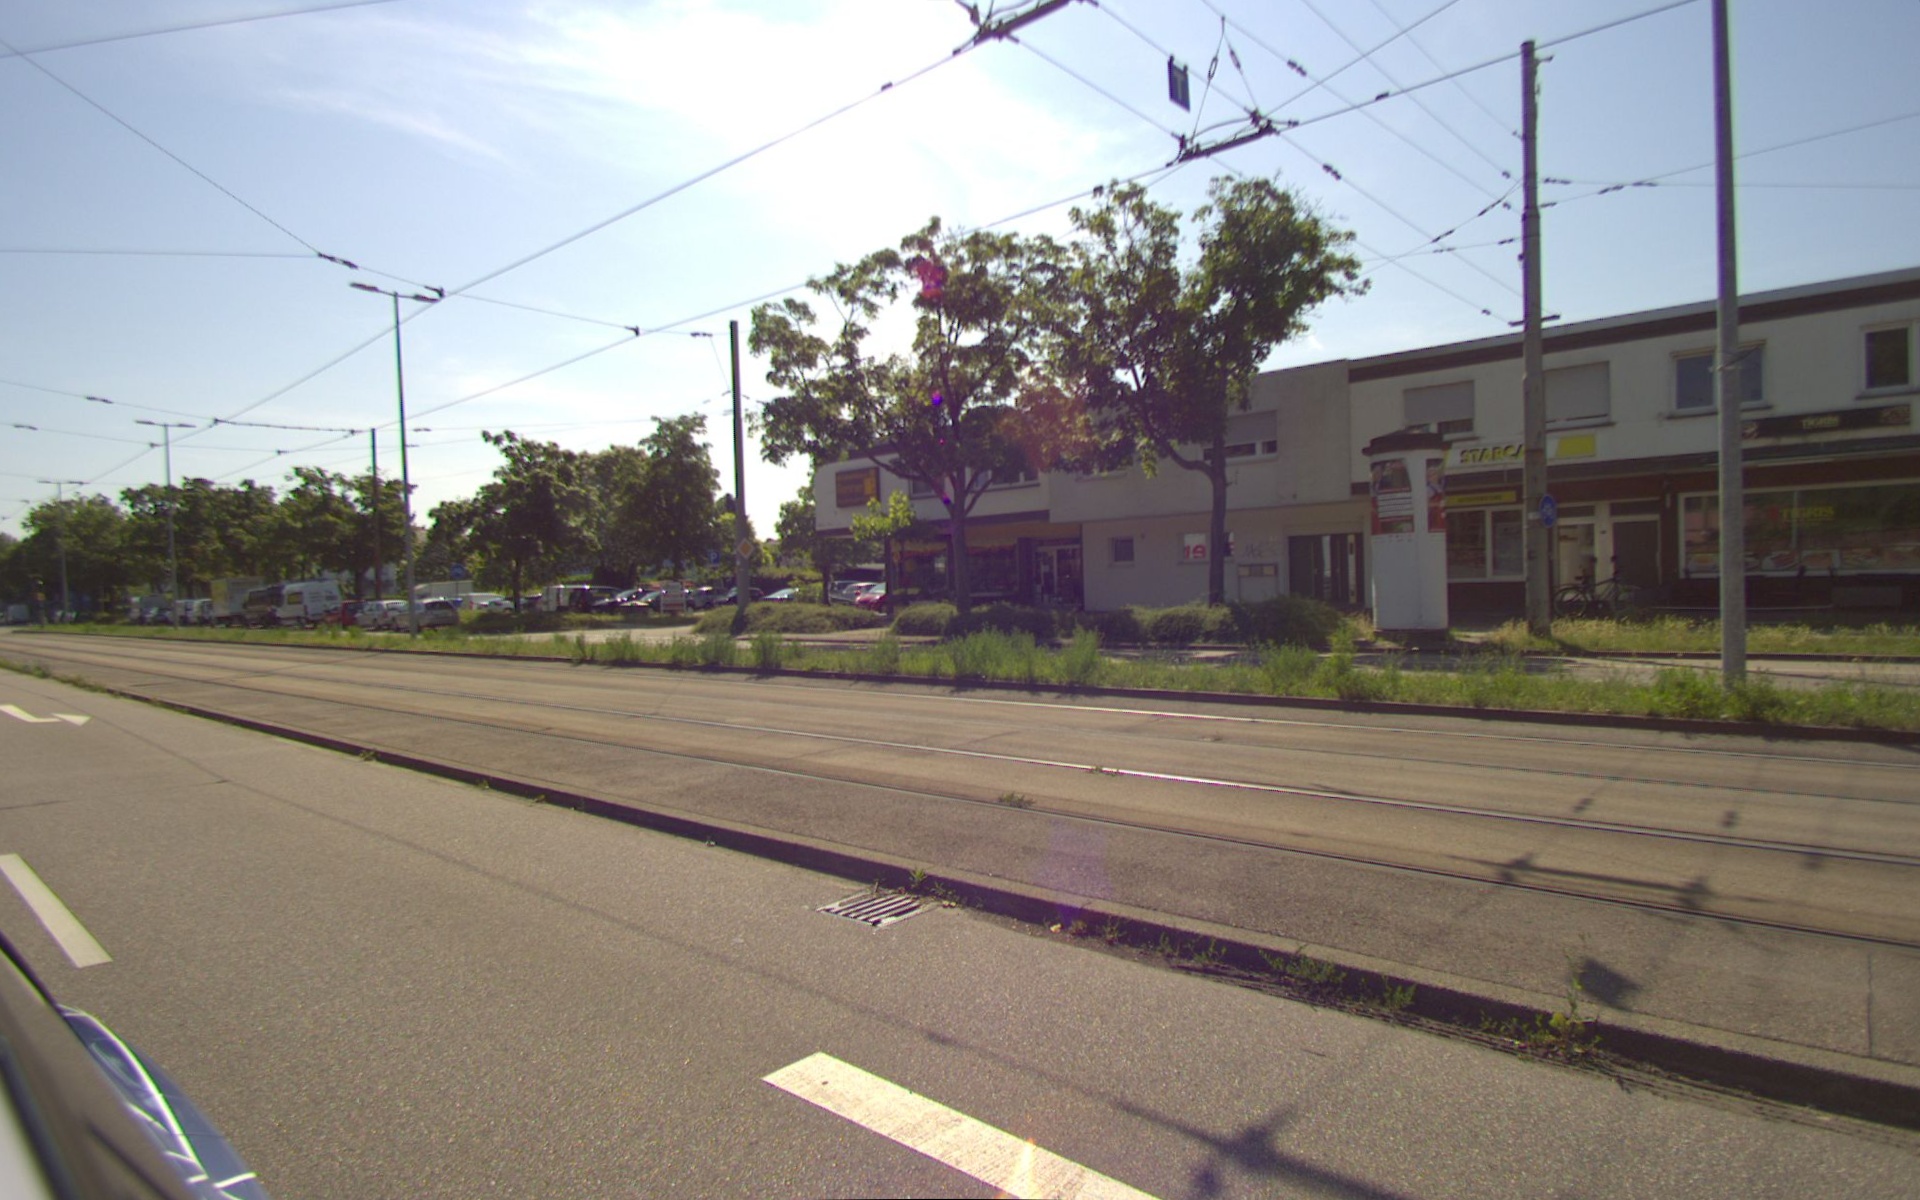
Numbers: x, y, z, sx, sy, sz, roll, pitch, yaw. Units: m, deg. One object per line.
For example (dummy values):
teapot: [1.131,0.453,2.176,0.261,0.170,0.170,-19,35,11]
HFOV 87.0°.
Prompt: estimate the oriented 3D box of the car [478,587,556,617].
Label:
car: [-27.981,0.087,63.974,1.988,1.751,4.068,-1,1,38]

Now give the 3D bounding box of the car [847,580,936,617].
car: [-3.201,-0.101,47.957,1.676,1.616,4.197,-1,1,42]

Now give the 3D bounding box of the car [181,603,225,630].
car: [-54.651,1.196,73.057,4.631,1.817,1.483,-1,4,41]

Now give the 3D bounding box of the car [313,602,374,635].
car: [-33.108,0.998,54.344,3.791,1.544,1.654,-1,4,41]

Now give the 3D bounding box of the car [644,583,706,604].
car: [-21.007,-0.488,74.728,1.674,1.345,4.201,-1,1,39]

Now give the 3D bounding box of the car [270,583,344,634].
car: [-37.207,0.503,57.627,5.201,2.673,2.036,-1,4,41]

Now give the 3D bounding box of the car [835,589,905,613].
car: [-5.468,0.057,61.627,1.676,1.345,4.197,-1,1,42]

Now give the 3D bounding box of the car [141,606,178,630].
car: [-64.359,1.431,81.342,3.685,1.799,1.484,-1,4,40]

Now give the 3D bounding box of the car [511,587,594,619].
car: [-23.993,0.159,59.642,1.988,1.751,4.068,-1,1,38]

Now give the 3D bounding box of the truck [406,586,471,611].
truck: [-53.017,-0.152,103.017,1.988,2.398,5.584,-1,1,38]

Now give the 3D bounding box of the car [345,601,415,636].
car: [-29.232,0.931,50.975,4.255,1.544,1.654,-1,4,41]

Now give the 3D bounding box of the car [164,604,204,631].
car: [-59.697,1.342,77.803,4.056,1.859,1.484,-1,4,40]

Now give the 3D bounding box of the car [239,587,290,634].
car: [-42.297,0.642,61.519,4.005,2.643,1.483,-1,4,41]

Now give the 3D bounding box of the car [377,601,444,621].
car: [-42.020,0.850,77.410,1.676,1.345,4.198,-1,1,41]

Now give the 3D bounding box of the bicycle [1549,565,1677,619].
bicycle: [14.729,-0.164,22.864,2.333,1.161,0.779,-1,-1,42]

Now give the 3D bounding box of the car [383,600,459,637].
car: [-25.274,0.859,47.360,4.255,1.544,1.654,-1,4,41]

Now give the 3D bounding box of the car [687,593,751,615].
car: [-17.003,0.272,71.468,1.676,1.345,4.197,-1,1,42]

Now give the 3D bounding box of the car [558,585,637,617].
car: [-20.176,0.020,56.428,1.676,1.646,3.761,-1,1,42]

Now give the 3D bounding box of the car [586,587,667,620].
car: [-17.916,0.167,54.406,1.676,1.646,3.761,-1,1,42]

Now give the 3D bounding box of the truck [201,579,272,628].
truck: [-48.261,0.251,67.482,5.902,2.956,2.476,-1,4,42]

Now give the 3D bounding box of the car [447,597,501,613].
car: [-45.889,0.471,95.612,1.676,1.345,4.198,-1,1,41]

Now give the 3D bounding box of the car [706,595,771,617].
car: [-15.218,0.393,69.627,1.676,1.345,4.197,-1,1,42]

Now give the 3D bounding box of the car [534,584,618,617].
car: [-22.018,0.022,58.160,1.988,1.751,4.068,-1,1,38]

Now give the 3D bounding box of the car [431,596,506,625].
car: [-33.253,0.740,68.394,5.739,1.825,2.560,-1,1,42]
